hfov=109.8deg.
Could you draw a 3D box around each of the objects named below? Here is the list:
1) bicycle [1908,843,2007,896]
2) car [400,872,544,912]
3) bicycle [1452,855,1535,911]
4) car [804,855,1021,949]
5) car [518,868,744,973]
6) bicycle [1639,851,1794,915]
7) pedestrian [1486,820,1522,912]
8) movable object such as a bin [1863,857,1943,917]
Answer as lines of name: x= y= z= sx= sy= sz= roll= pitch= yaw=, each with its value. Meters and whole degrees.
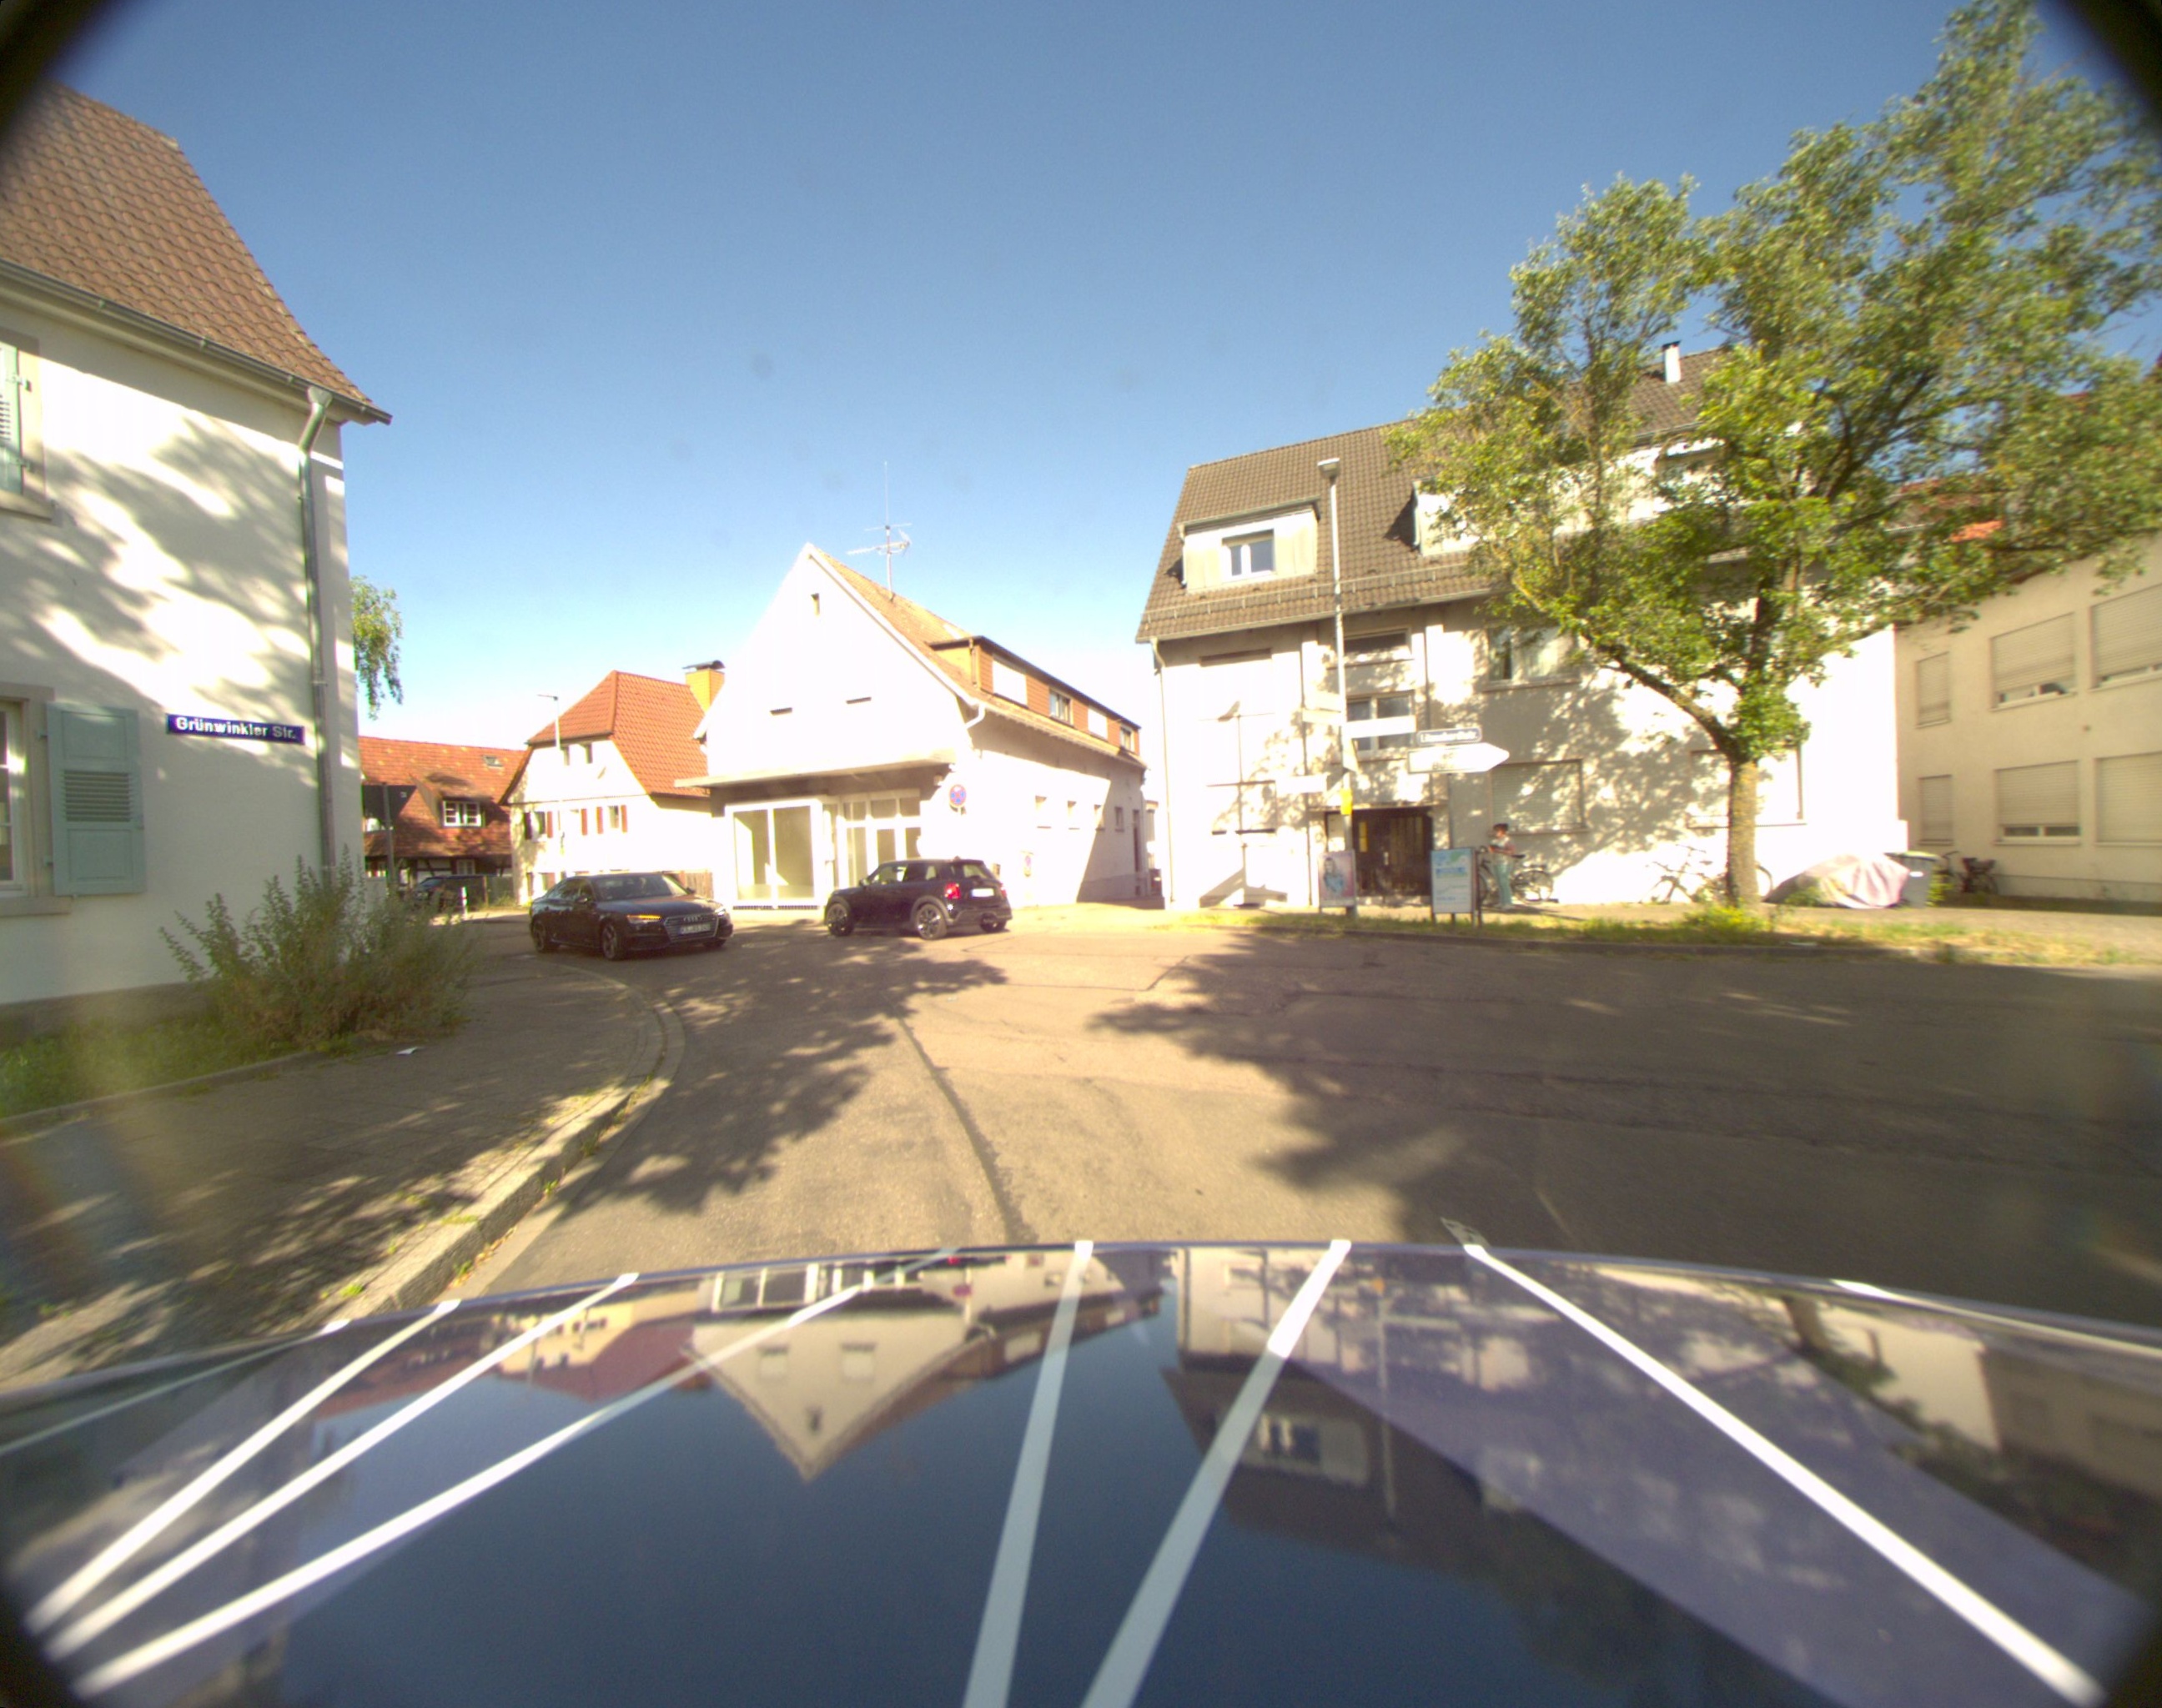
bicycle: x=18.463 y=0.298 z=16.068 sx=0.578 sy=1.046 sz=2.039 roll=0 pitch=1 yaw=25
car: x=-24.469 y=1.489 z=30.719 sx=1.844 sy=1.453 sz=4.178 roll=-2 pitch=-1 yaw=18
bicycle: x=7.915 y=0.543 z=14.611 sx=1.378 sy=1.046 sz=0.425 roll=0 pitch=2 yaw=25
car: x=-3.178 y=0.829 z=14.032 sx=3.989 sy=1.469 sz=1.669 roll=-2 pitch=0 yaw=37
car: x=-7.957 y=1.064 z=13.306 sx=4.332 sy=1.469 sz=1.812 roll=-2 pitch=1 yaw=37
bicycle: x=11.084 y=0.480 z=13.350 sx=2.030 sy=1.046 sz=0.581 roll=0 pitch=2 yaw=31
pedestrian: x=7.865 y=0.207 z=14.136 sx=0.555 sy=1.683 sz=0.486 roll=1 pitch=3 yaw=28
movable object such as a bin: x=13.438 y=0.529 z=12.441 sx=0.659 sy=0.940 sz=0.628 roll=-1 pitch=2 yaw=20
